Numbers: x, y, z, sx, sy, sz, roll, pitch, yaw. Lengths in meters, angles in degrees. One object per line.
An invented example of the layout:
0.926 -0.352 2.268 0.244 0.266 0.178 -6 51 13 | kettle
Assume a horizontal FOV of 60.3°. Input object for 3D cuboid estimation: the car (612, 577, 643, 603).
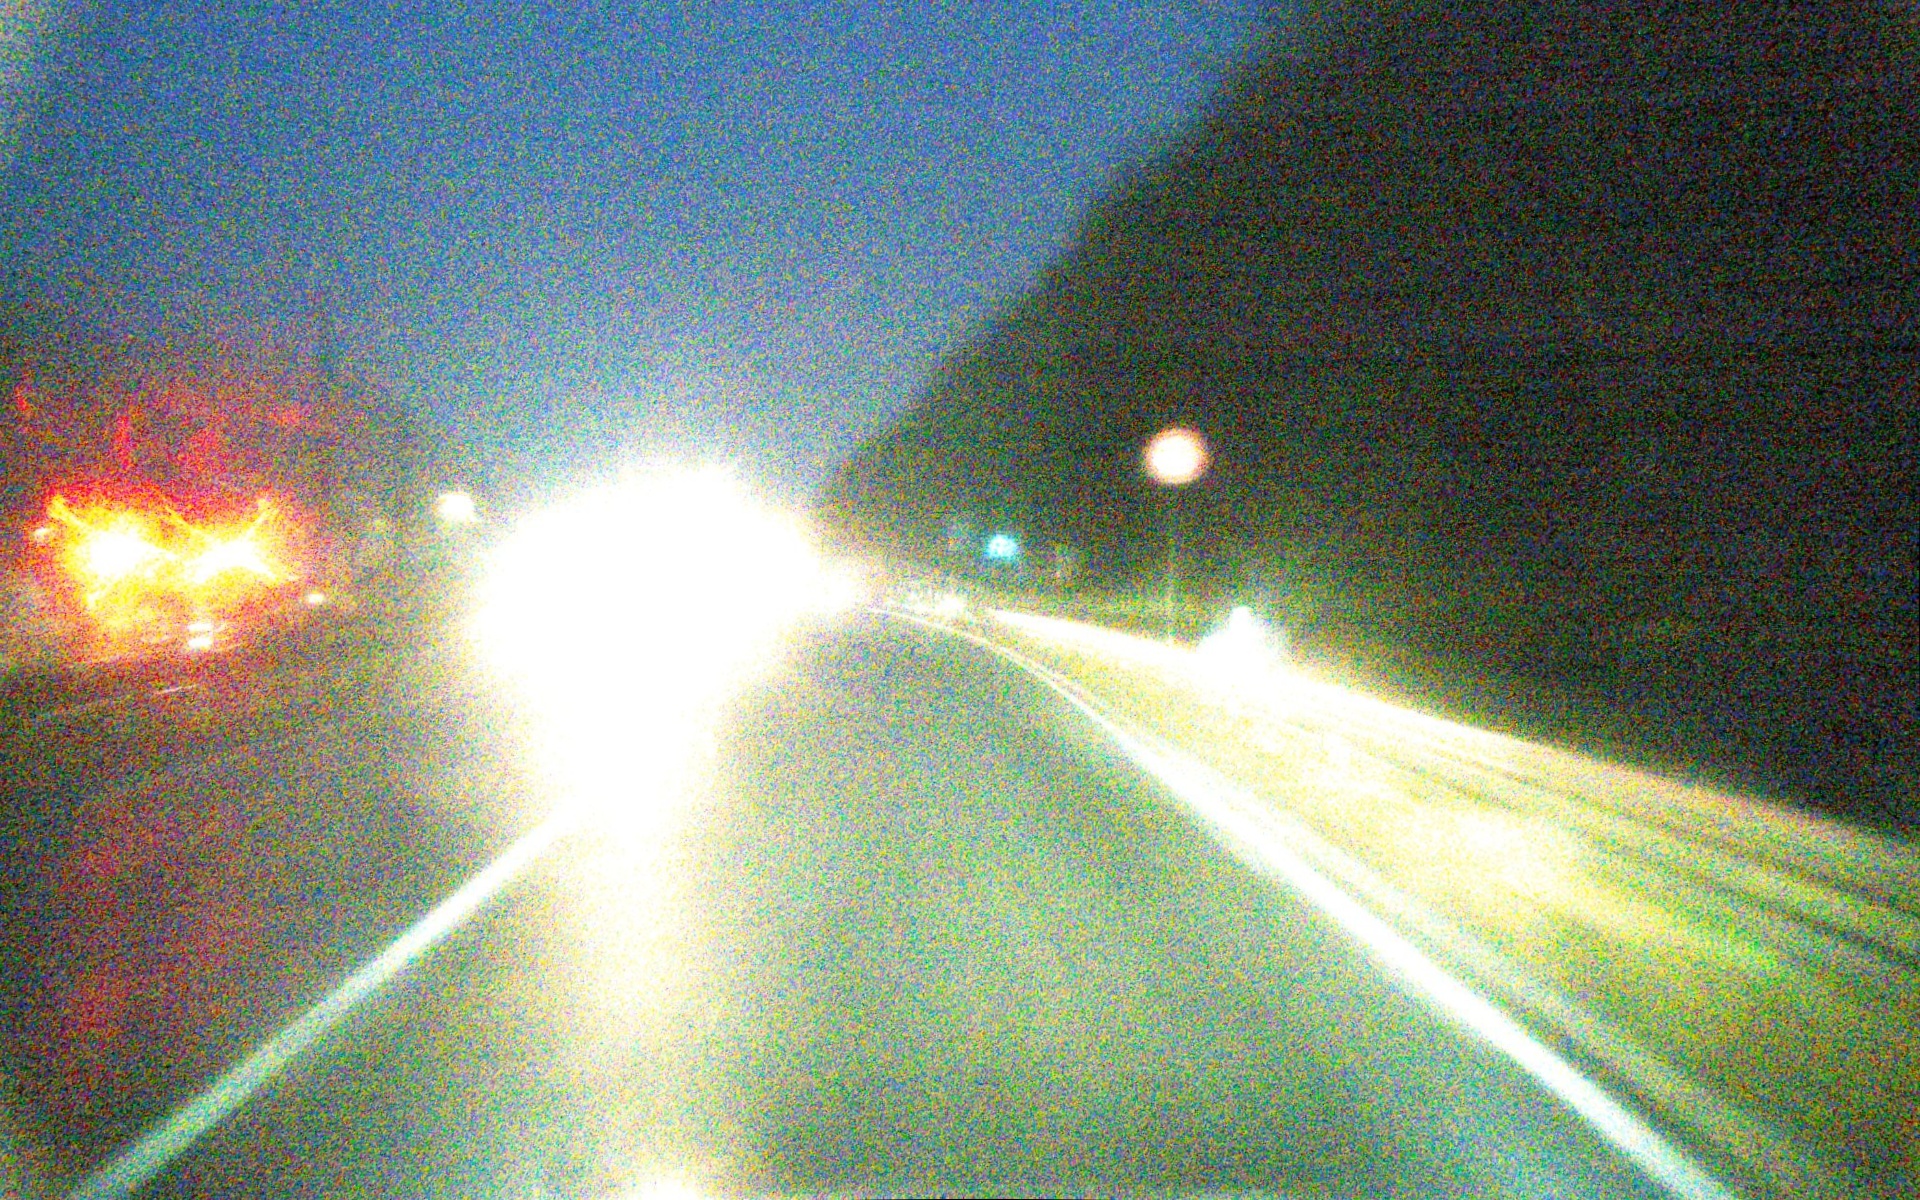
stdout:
-21.013 -0.629 104.616 1.848 1.628 3.889 1 0 -11 | car
